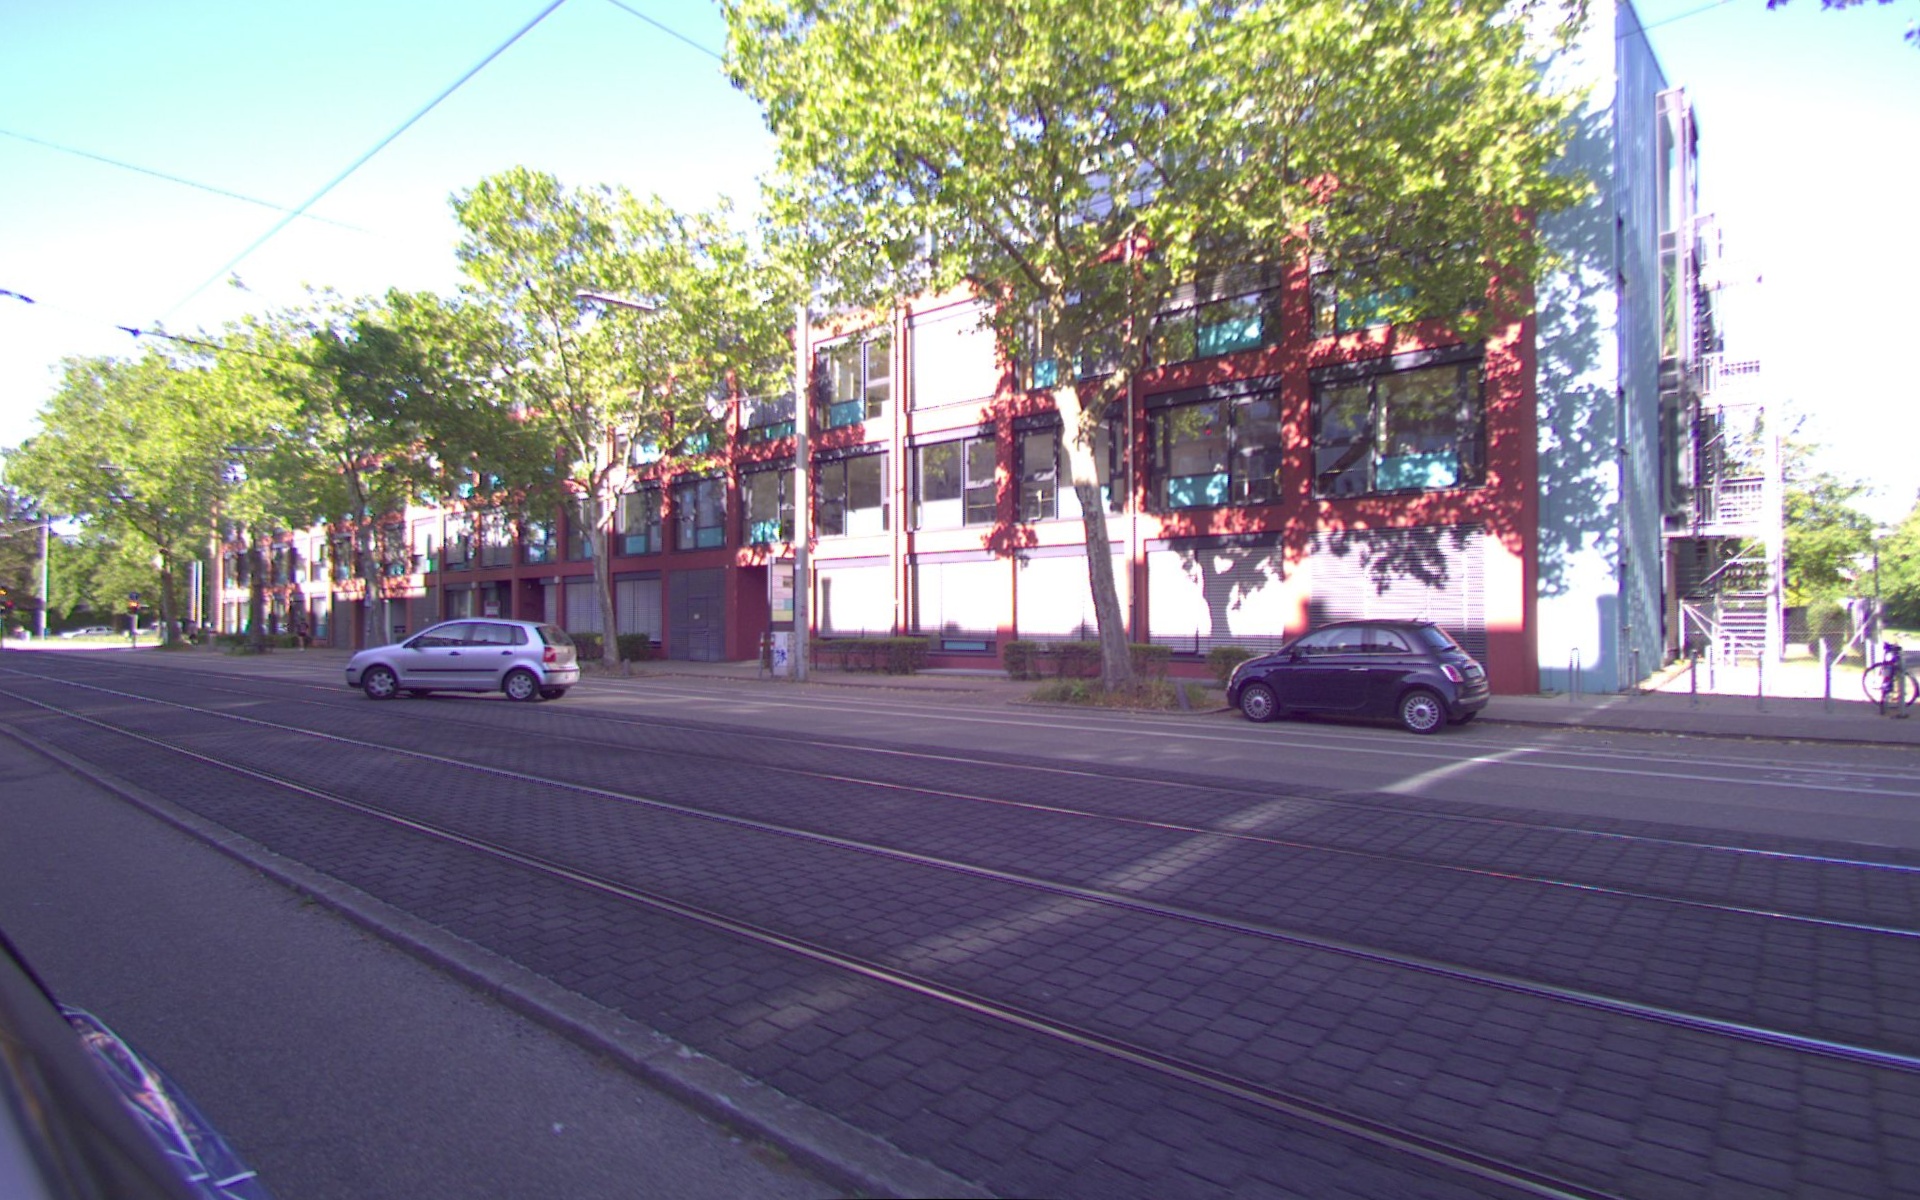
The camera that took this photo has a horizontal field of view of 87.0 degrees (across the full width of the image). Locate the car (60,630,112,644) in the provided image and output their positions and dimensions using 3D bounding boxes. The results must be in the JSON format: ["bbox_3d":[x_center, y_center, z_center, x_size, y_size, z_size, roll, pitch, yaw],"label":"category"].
[{"bbox_3d":[-90.115,3.814,104.375,3.940,1.444,1.818,1,-2,-44],"label":"car"}]

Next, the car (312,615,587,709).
[{"bbox_3d":[-9.025,1.096,18.123,4.014,1.530,1.758,1,-3,0],"label":"car"}]

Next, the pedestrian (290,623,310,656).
[{"bbox_3d":[-34.942,2.100,53.566,0.900,1.731,0.619,-2,0,40],"label":"pedestrian"}]

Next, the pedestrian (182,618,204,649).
[{"bbox_3d":[-50.456,2.212,66.549,0.778,2.029,0.903,-2,0,32],"label":"pedestrian"}]

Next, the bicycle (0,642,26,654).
[{"bbox_3d":[-94.312,4.753,100.539,2.252,1.126,0.931,1,-2,-42],"label":"bicycle"}]

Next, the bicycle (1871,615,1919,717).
[{"bbox_3d":[13.270,0.884,14.183,0.664,1.288,1.988,-2,-1,41],"label":"bicycle"}]

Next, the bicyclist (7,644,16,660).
[{"bbox_3d":[-94.244,5.162,100.557,0.551,1.635,0.899,1,-2,-41],"label":"bicyclist"}]

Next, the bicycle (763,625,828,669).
[{"bbox_3d":[-5.220,1.474,32.276,0.619,1.282,2.039,-2,0,44],"label":"bicycle"}]

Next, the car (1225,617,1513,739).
[{"bbox_3d":[5.705,1.028,14.333,3.462,1.464,1.491,-2,0,42],"label":"car"}]

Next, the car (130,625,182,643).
[{"bbox_3d":[-87.874,3.706,110.590,1.816,1.881,4.254,-3,-2,43],"label":"car"}]
